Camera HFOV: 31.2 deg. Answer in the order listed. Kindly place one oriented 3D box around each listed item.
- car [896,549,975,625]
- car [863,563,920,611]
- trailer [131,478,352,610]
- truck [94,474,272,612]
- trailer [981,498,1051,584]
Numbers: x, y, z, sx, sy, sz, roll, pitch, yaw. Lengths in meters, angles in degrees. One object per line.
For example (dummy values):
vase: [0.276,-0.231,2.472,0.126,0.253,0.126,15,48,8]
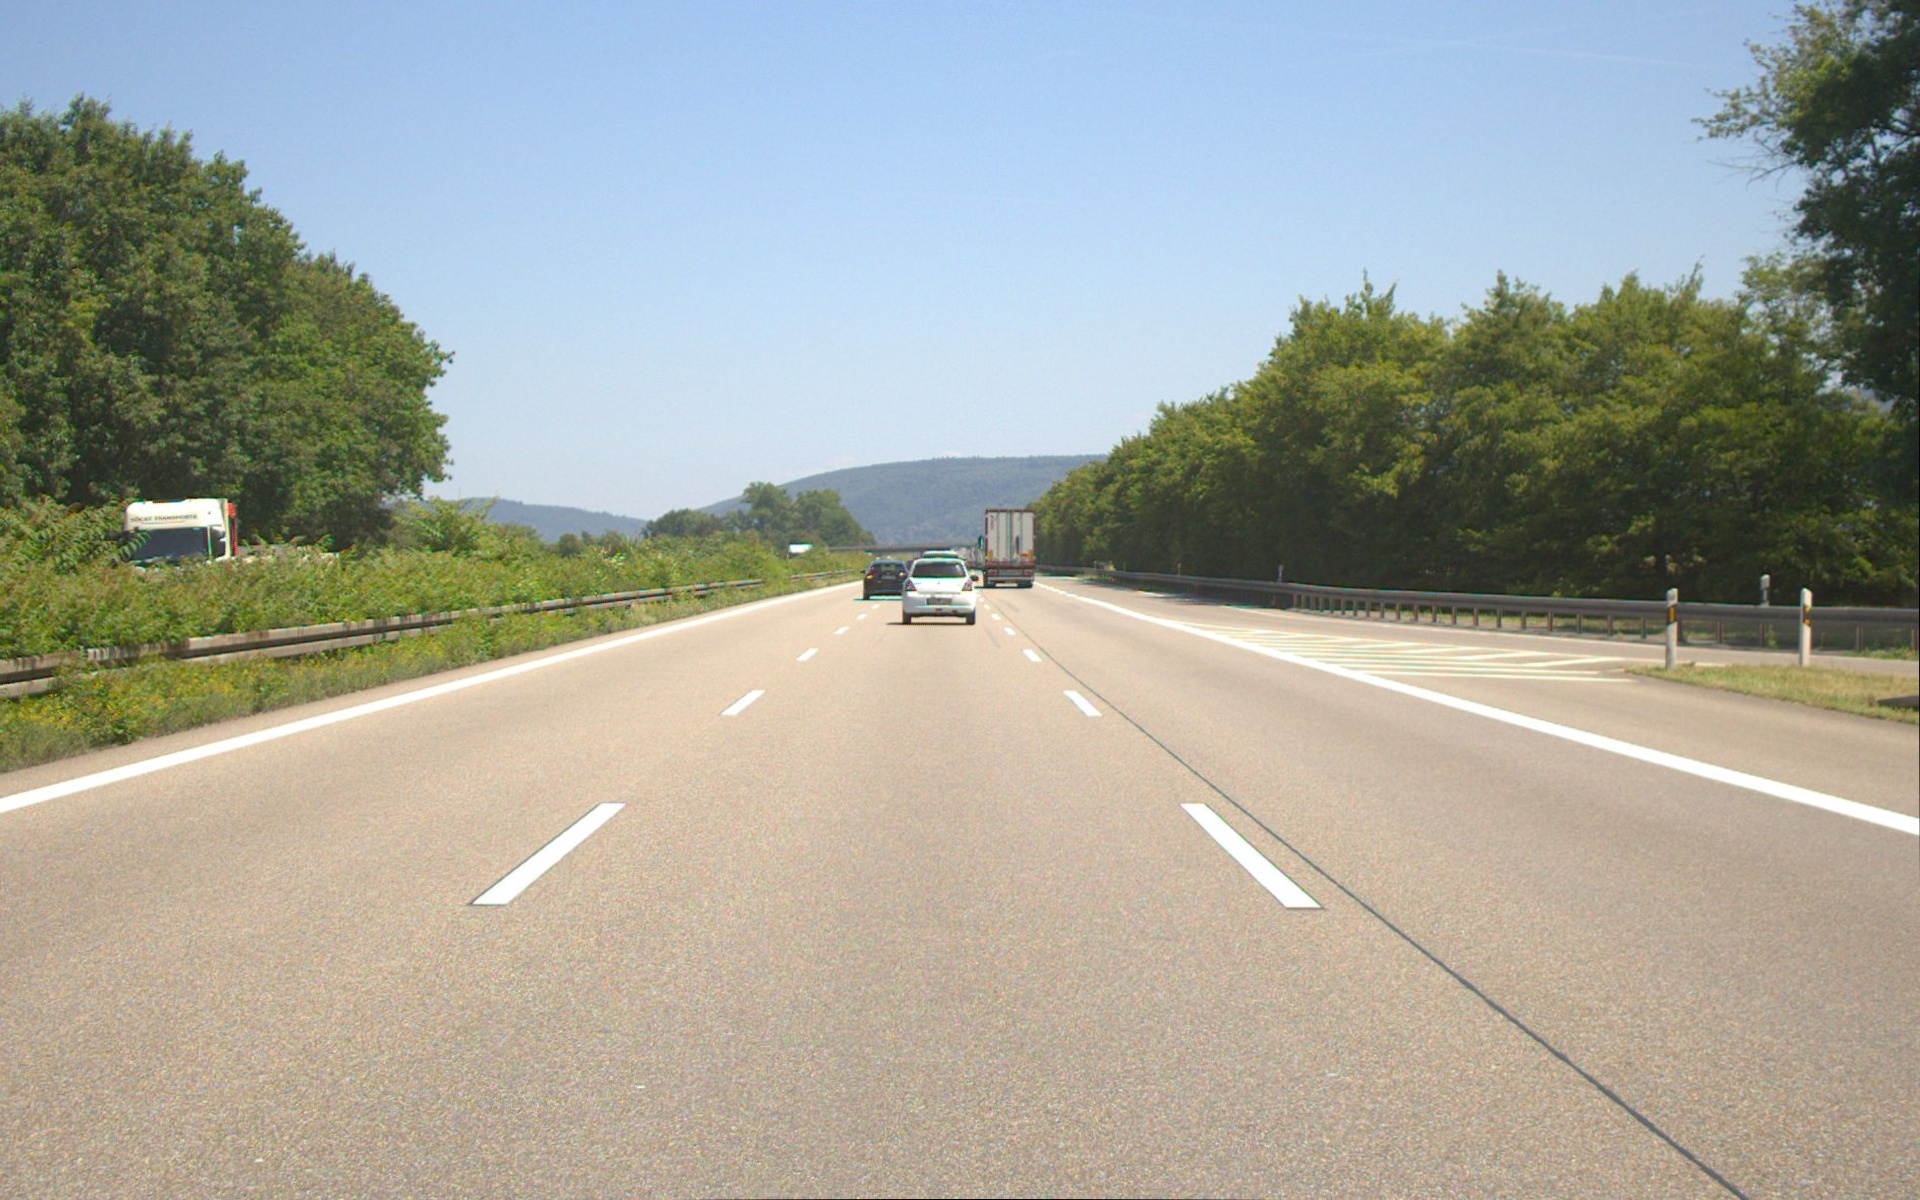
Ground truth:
car: [-0.574,-0.319,79.270,1.732,1.678,4.000,-1,1,-1]
car: [-2.479,-0.481,124.777,1.993,1.706,4.000,1,1,-1]
trailer: [-20.976,-1.611,101.537,3.198,3.567,15.969,1,1,0]
truck: [-20.939,-1.522,93.049,3.198,3.567,6.996,1,1,0]
trailer: [3.048,-3.079,182.467,3.218,4.330,13.628,1,1,3]
